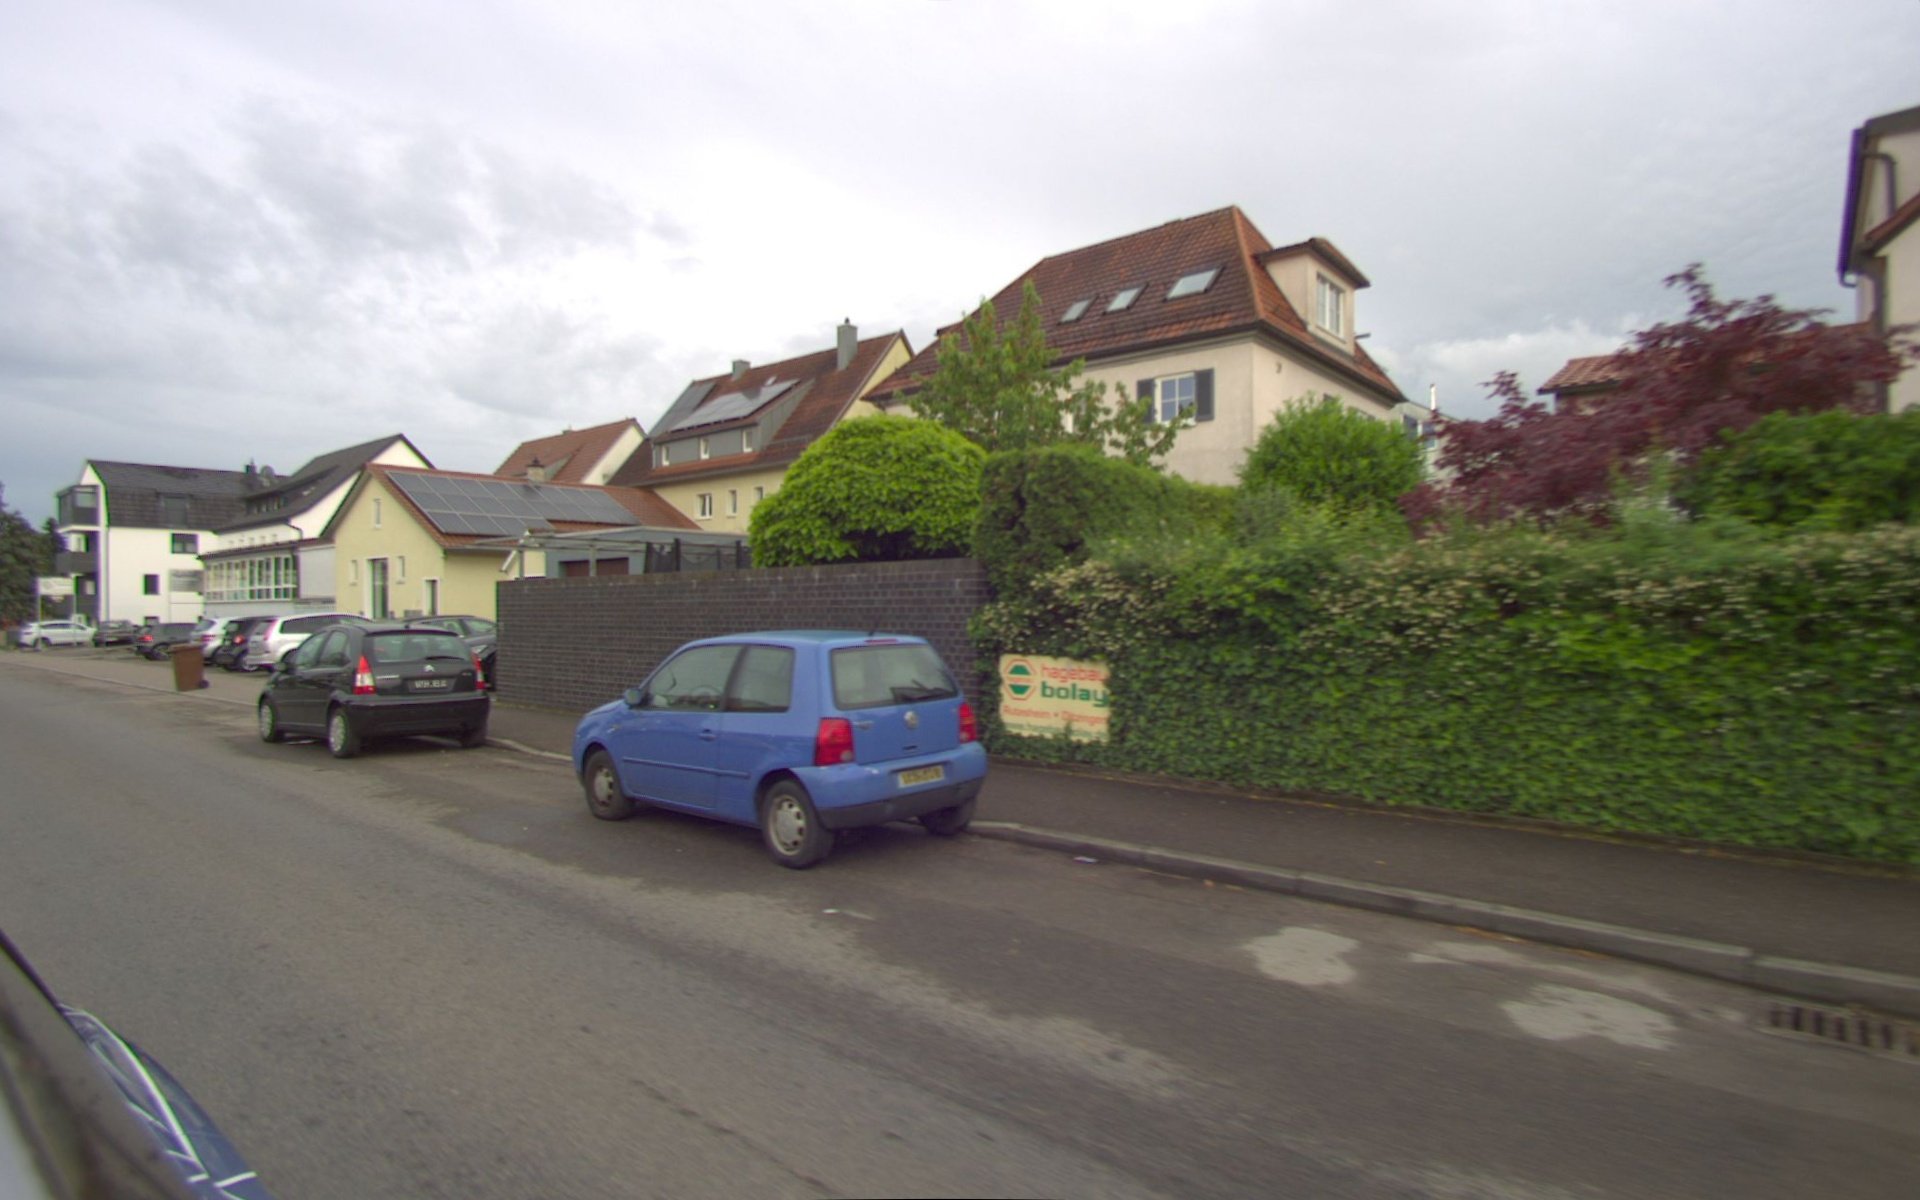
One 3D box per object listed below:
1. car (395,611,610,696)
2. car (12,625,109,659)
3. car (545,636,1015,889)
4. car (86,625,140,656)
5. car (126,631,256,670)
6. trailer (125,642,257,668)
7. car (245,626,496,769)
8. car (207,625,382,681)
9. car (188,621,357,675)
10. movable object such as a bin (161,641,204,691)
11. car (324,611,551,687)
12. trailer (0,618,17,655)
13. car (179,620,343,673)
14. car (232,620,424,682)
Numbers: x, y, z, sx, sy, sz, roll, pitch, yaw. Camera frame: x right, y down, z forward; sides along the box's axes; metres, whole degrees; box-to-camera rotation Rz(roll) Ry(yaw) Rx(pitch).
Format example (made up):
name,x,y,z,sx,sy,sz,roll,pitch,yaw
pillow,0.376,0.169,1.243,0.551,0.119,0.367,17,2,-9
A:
name,x,y,z,sx,sy,sz,roll,pitch,yaw
car,-9.153,1.005,20.445,1.753,1.468,3.553,-1,0,36
car,-53.008,2.448,59.693,1.998,1.659,3.949,-2,2,39
car,-1.473,0.986,7.515,3.595,1.414,1.529,-2,-3,41
car,-48.259,2.285,57.621,4.000,1.541,1.800,-2,4,43
car,-30.701,1.982,40.480,1.766,1.449,3.834,-2,-2,40
trailer,-32.413,2.282,42.760,1.792,0.950,4.156,-2,-2,38
car,-7.404,1.095,12.585,3.705,1.518,1.591,-2,-3,41
car,-19.854,1.526,30.330,1.752,1.514,4.048,-2,-2,35
car,-21.450,1.463,31.711,1.811,1.544,4.046,-2,-2,37
movable object such as a bin,-17.974,1.521,23.402,0.686,1.065,0.589,-4,1,41
car,-11.251,1.002,22.015,1.711,1.424,4.045,-2,-1,38
trailer,-80.162,3.012,82.940,2.167,3.069,4.006,-1,-1,42
car,-23.045,1.494,33.484,1.995,1.544,4.048,-5,-3,35
car,-17.131,1.345,27.596,1.880,1.525,4.046,-2,-2,37
